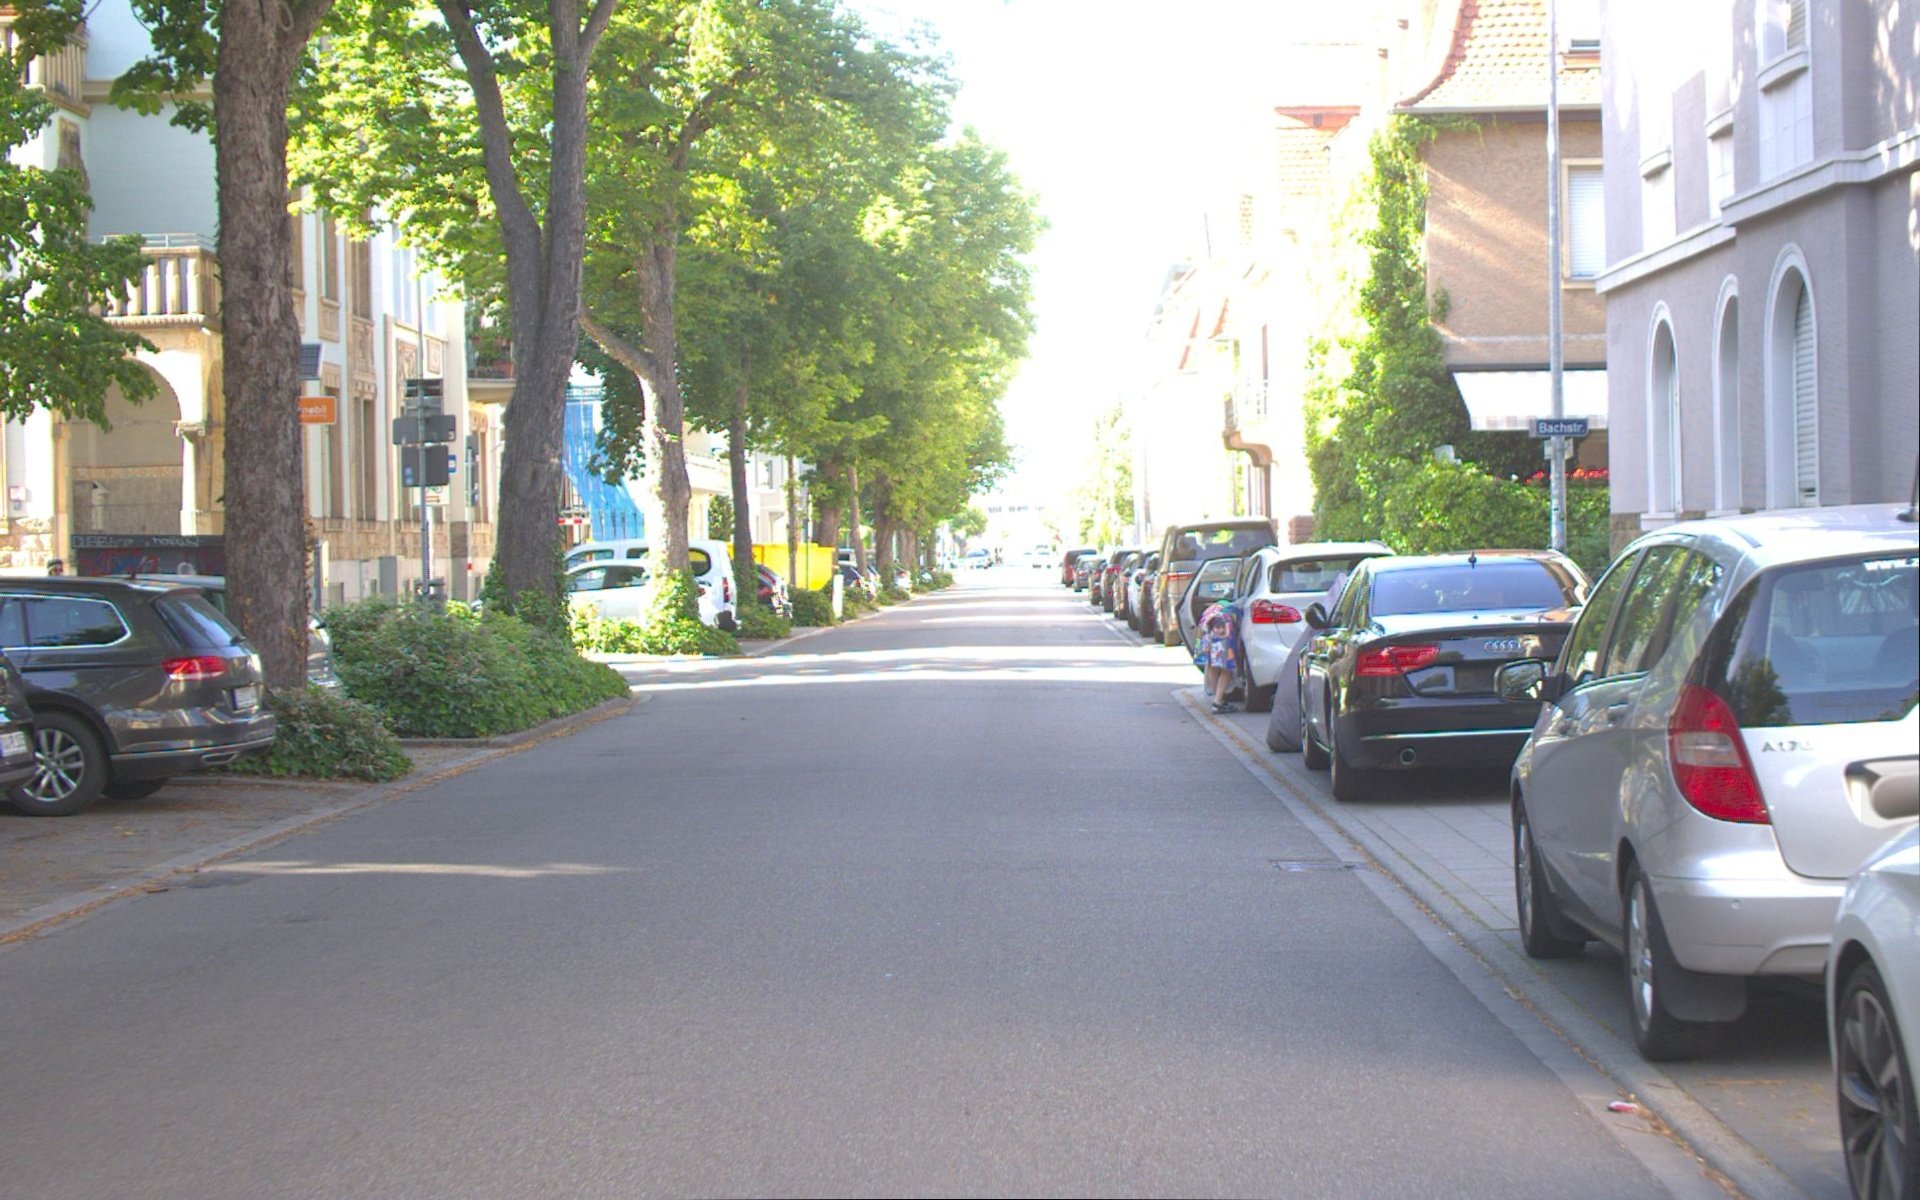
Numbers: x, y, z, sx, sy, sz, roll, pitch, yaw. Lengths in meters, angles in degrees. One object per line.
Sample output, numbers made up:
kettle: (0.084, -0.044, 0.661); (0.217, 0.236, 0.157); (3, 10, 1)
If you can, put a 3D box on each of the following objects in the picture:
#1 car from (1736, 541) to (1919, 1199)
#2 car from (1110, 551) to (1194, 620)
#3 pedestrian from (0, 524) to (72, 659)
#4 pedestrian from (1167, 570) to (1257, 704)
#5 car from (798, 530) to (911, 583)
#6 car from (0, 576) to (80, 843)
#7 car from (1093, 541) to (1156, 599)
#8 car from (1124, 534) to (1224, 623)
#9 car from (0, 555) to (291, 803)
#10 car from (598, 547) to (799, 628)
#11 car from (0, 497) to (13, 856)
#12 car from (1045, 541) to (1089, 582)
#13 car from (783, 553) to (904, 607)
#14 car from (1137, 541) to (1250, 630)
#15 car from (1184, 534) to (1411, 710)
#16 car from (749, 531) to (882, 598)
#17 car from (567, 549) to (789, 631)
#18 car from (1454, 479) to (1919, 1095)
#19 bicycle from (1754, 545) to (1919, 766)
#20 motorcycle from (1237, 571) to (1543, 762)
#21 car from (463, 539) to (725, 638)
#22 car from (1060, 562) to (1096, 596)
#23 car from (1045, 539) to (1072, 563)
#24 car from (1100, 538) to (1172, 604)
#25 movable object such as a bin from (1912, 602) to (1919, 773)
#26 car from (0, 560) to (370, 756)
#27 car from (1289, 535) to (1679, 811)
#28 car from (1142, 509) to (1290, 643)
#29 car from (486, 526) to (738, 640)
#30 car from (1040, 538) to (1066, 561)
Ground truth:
car: (2.709, 0.616, 5.747); (1.678, 1.452, 4.439); (-1, 1, -2)
car: (4.256, -0.347, 76.652); (1.771, 1.450, 3.866); (-1, 1, 2)
pedestrian: (-11.918, -0.115, 44.337); (0.631, 1.689, 0.652); (-2, 1, 5)
pedestrian: (2.407, 0.347, 32.907); (0.723, 1.253, 0.646); (-2, 1, -6)
car: (-3.921, -1.621, 127.908); (4.007, 1.835, 2.000); (1, 2, 4)
car: (-7.179, 0.599, 19.359); (3.979, 1.432, 1.829); (-1, 0, -1)
car: (4.785, -0.879, 100.225); (1.771, 1.625, 3.866); (-1, 1, 2)
car: (4.047, -0.436, 65.559); (1.789, 1.612, 3.866); (-1, 1, 2)
car: (-6.700, 0.478, 21.819); (4.532, 1.498, 1.892); (0, 0, 0)
car: (-5.373, -0.267, 70.411); (3.986, 1.546, 1.838); (-1, 1, -7)
car: (-6.937, 0.417, 17.023); (3.979, 1.849, 1.829); (0, 0, 0)
car: (4.442, -1.615, 142.363); (1.771, 1.625, 3.866); (-1, 1, 2)
car: (-4.035, -0.717, 119.231); (4.007, 1.729, 1.894); (1, 2, 4)
car: (4.035, -0.281, 59.825); (1.690, 1.394, 3.805); (-4, 1, 1)
car: (3.252, 0.173, 33.789); (1.699, 1.534, 4.155); (-3, 1, -1)
car: (-4.520, -1.097, 107.192); (3.986, 2.007, 2.000); (-1, 1, -7)
car: (-5.344, -0.201, 65.482); (3.987, 1.464, 1.863); (-1, 2, 3)
car: (2.800, 0.446, 11.395); (1.789, 1.595, 4.000); (-3, 2, 2)
bicycle: (5.980, 0.325, 22.369); (1.082, 1.333, 2.250); (-2, 1, 0)
motorcycle: (3.259, 0.485, 25.978); (2.194, 1.334, 0.921); (2, 2, 12)
car: (-5.749, -0.177, 54.394); (3.986, 1.459, 1.798); (1, 0, -2)
car: (5.896, -1.033, 171.155); (1.771, 1.625, 3.866); (-1, 1, 2)
car: (6.706, -3.335, 233.988); (1.771, 1.625, 3.866); (-1, 1, 2)
car: (4.469, -0.765, 87.725); (1.771, 1.625, 3.866); (-1, 1, 2)
movable object such as a bin: (6.168, 0.531, 20.627); (0.647, 1.036, 0.828); (-2, 1, -1)
car: (-6.650, 0.438, 27.131); (3.674, 1.482, 1.641); (0, 1, 1)
car: (3.190, 0.377, 21.789); (1.854, 1.488, 4.607); (-2, 1, 2)
car: (3.901, -0.402, 53.117); (1.904, 1.864, 4.673); (-4, 1, 1)
car: (-5.698, -0.276, 56.589); (3.986, 1.755, 1.798); (1, 0, -2)
car: (6.536, -3.558, 241.554); (1.771, 1.625, 3.866); (-1, 1, 2)
